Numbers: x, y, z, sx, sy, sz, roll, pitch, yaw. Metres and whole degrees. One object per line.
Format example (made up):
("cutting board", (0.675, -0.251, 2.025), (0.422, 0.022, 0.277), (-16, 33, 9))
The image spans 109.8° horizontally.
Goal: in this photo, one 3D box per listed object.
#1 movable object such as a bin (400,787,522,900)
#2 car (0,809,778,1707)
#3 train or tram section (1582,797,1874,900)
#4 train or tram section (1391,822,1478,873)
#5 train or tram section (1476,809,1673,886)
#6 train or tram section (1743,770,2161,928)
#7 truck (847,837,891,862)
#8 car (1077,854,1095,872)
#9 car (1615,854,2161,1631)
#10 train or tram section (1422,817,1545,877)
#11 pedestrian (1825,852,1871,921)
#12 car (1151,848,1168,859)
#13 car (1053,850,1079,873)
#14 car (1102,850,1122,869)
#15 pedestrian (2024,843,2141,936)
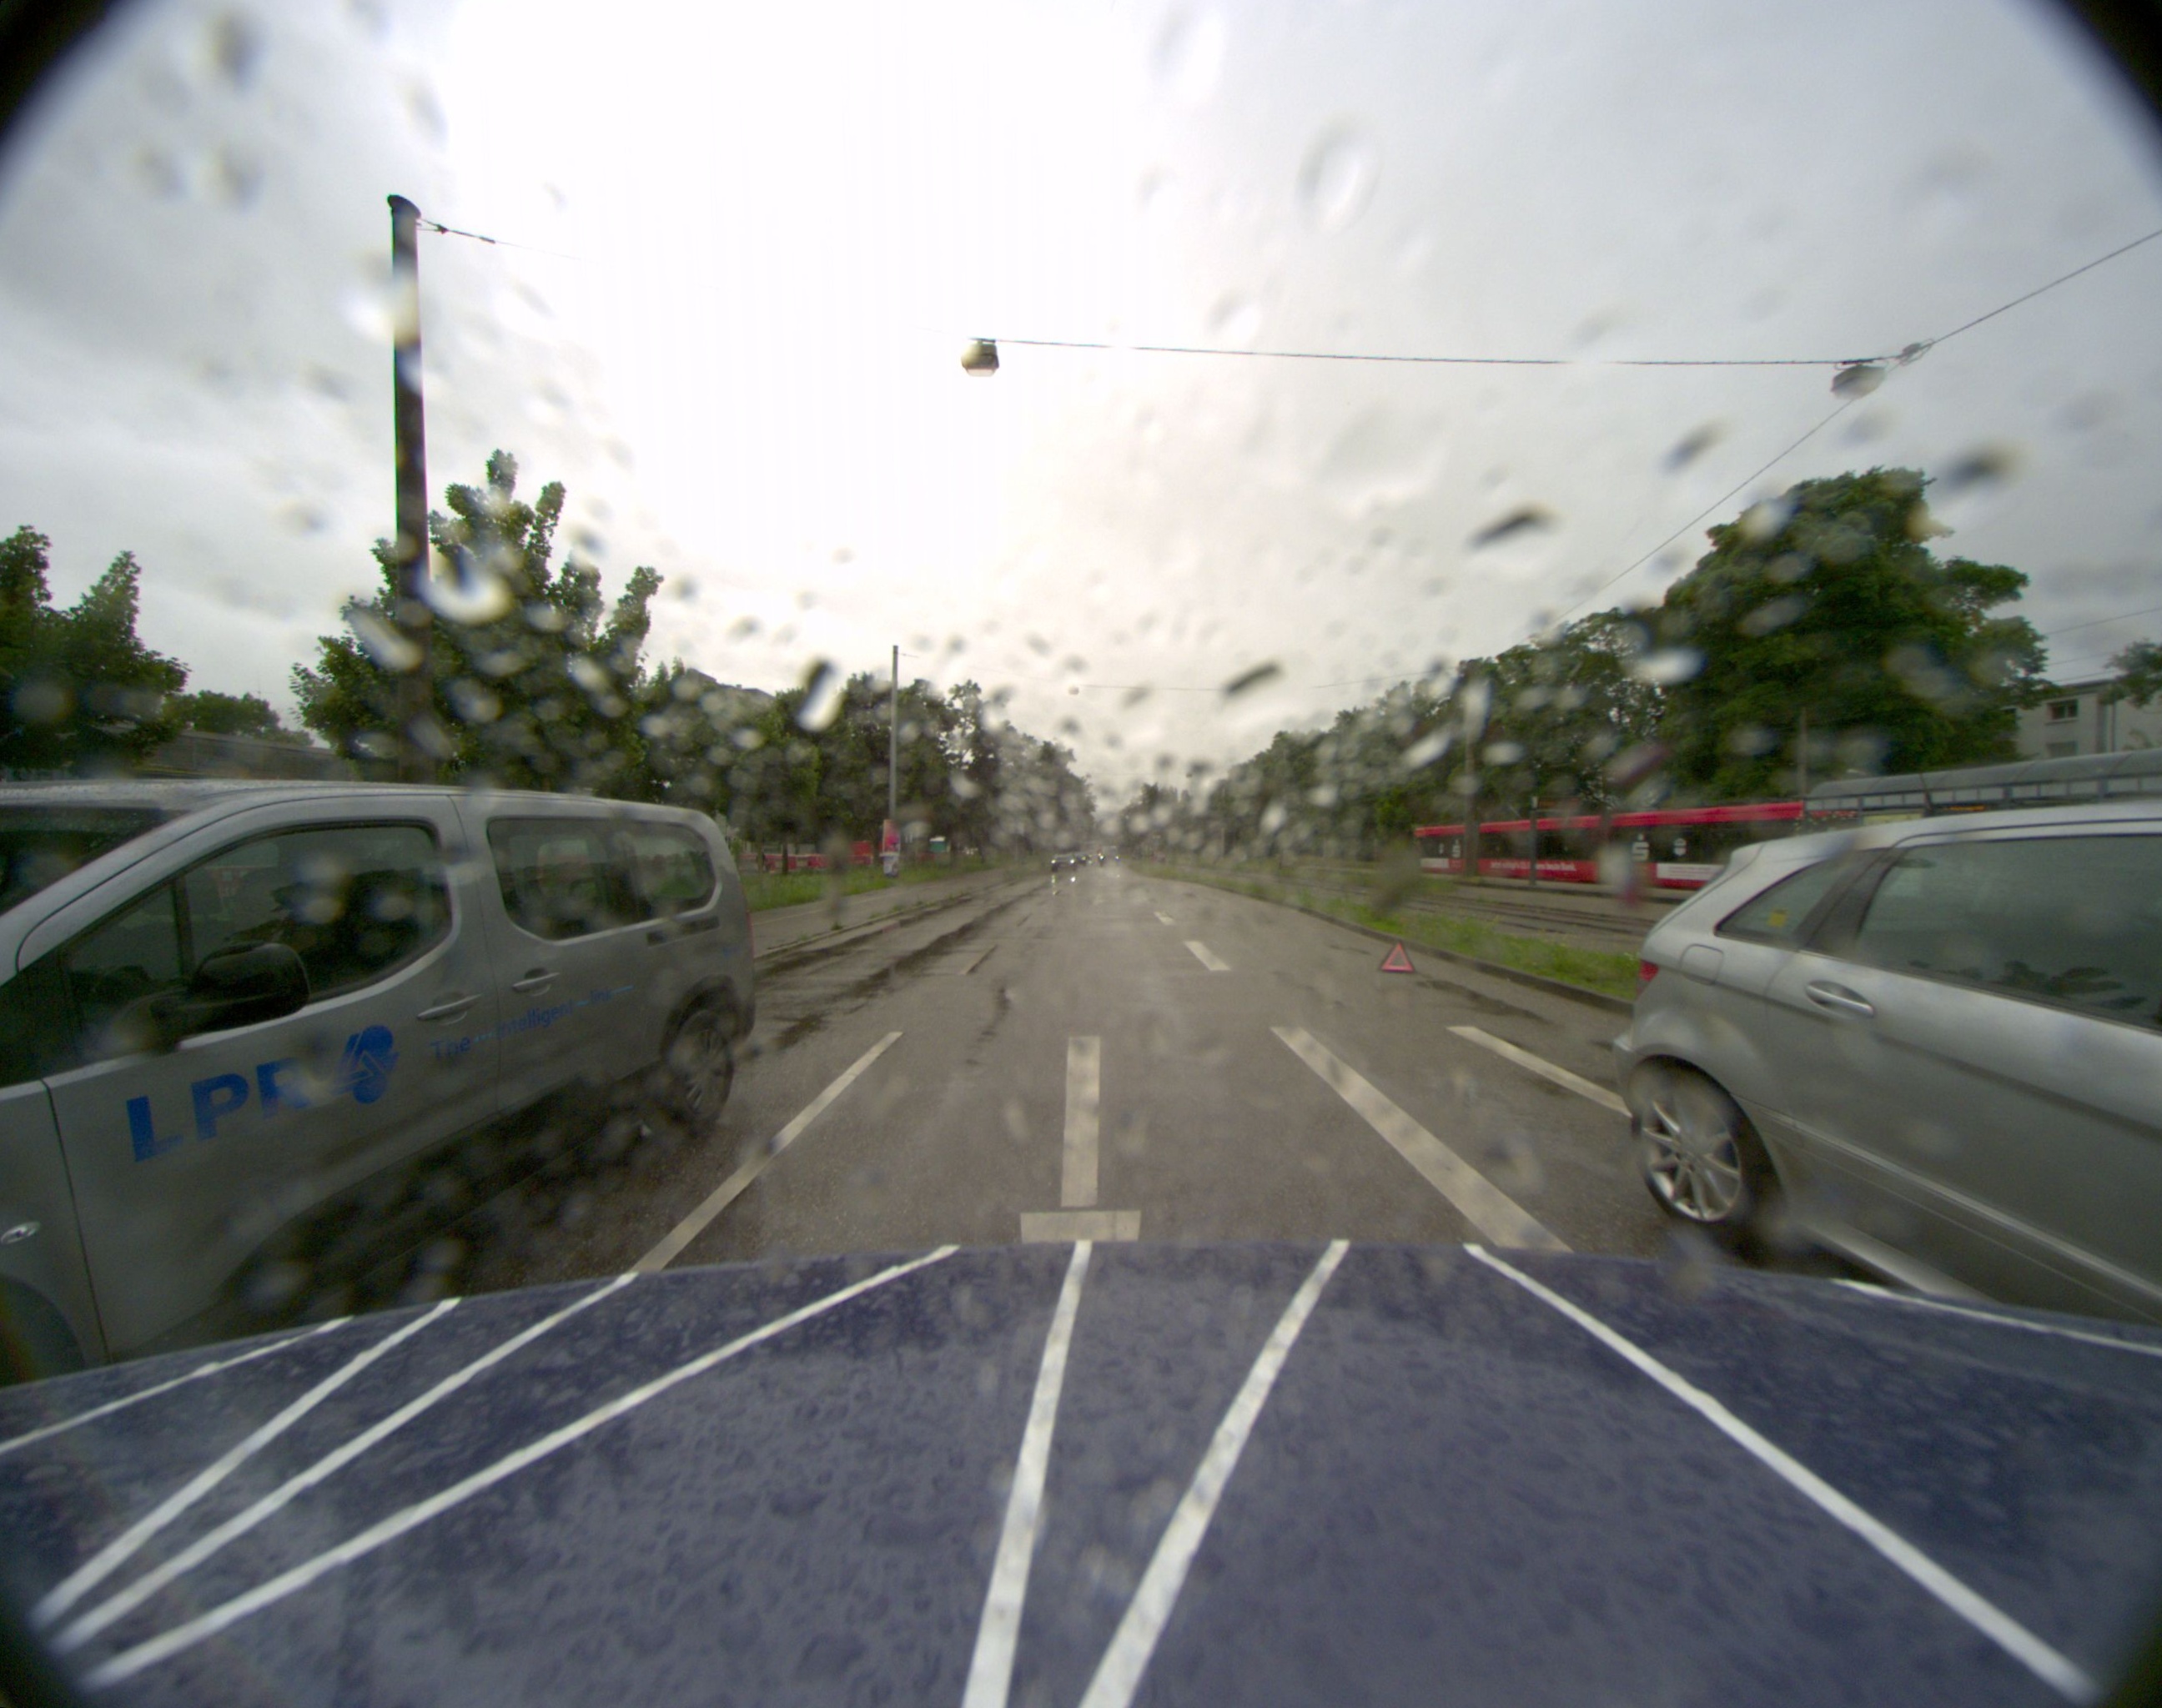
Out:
("movable object such as a bin", (-25.824, -0.460, 31.822), (1.557, 4.401, 3.909), (-2, 1, 2))
("car", (-3.051, 0.807, 2.732), (1.998, 1.785, 4.561), (-1, 1, 1))
("train or tram section", (24.204, -0.229, 29.498), (3.541, 3.370, 9.277), (0, 1, 1))
("train or tram section", (24.793, -0.481, 53.715), (3.541, 3.398, 5.769), (0, 1, 1))
("train or tram section", (24.417, -0.336, 38.637), (3.541, 3.381, 10.260), (0, 1, 1))
("train or tram section", (23.980, -0.153, 20.915), (3.541, 3.370, 9.277), (0, 1, 1))
("truck", (-26.099, -0.617, 94.124), (2.811, 2.882, 8.748), (-2, 1, 0))
("car", (0.456, 0.909, 78.039), (1.652, 1.652, 3.776), (-2, 1, -1))
("car", (3.036, 0.791, 1.097), (1.740, 1.535, 4.013), (-1, 0, 1))
("train or tram section", (24.634, -0.432, 47.139), (3.541, 3.392, 7.902), (0, 1, 1))
("pedestrian", (17.948, 0.750, 17.790), (0.522, 1.553, 0.602), (-1, 2, 15))
("car", (10.128, -0.092, 98.205), (1.685, 1.353, 4.250), (2, 1, -1))
("car", (-1.100, 0.559, 57.956), (1.858, 1.583, 3.999), (-2, 1, 0))
("car", (2.989, 0.535, 73.017), (1.812, 1.683, 3.776), (-2, 1, 1))
("pedestrian", (17.740, 0.605, 13.483), (0.806, 1.588, 0.929), (0, 1, 4))
